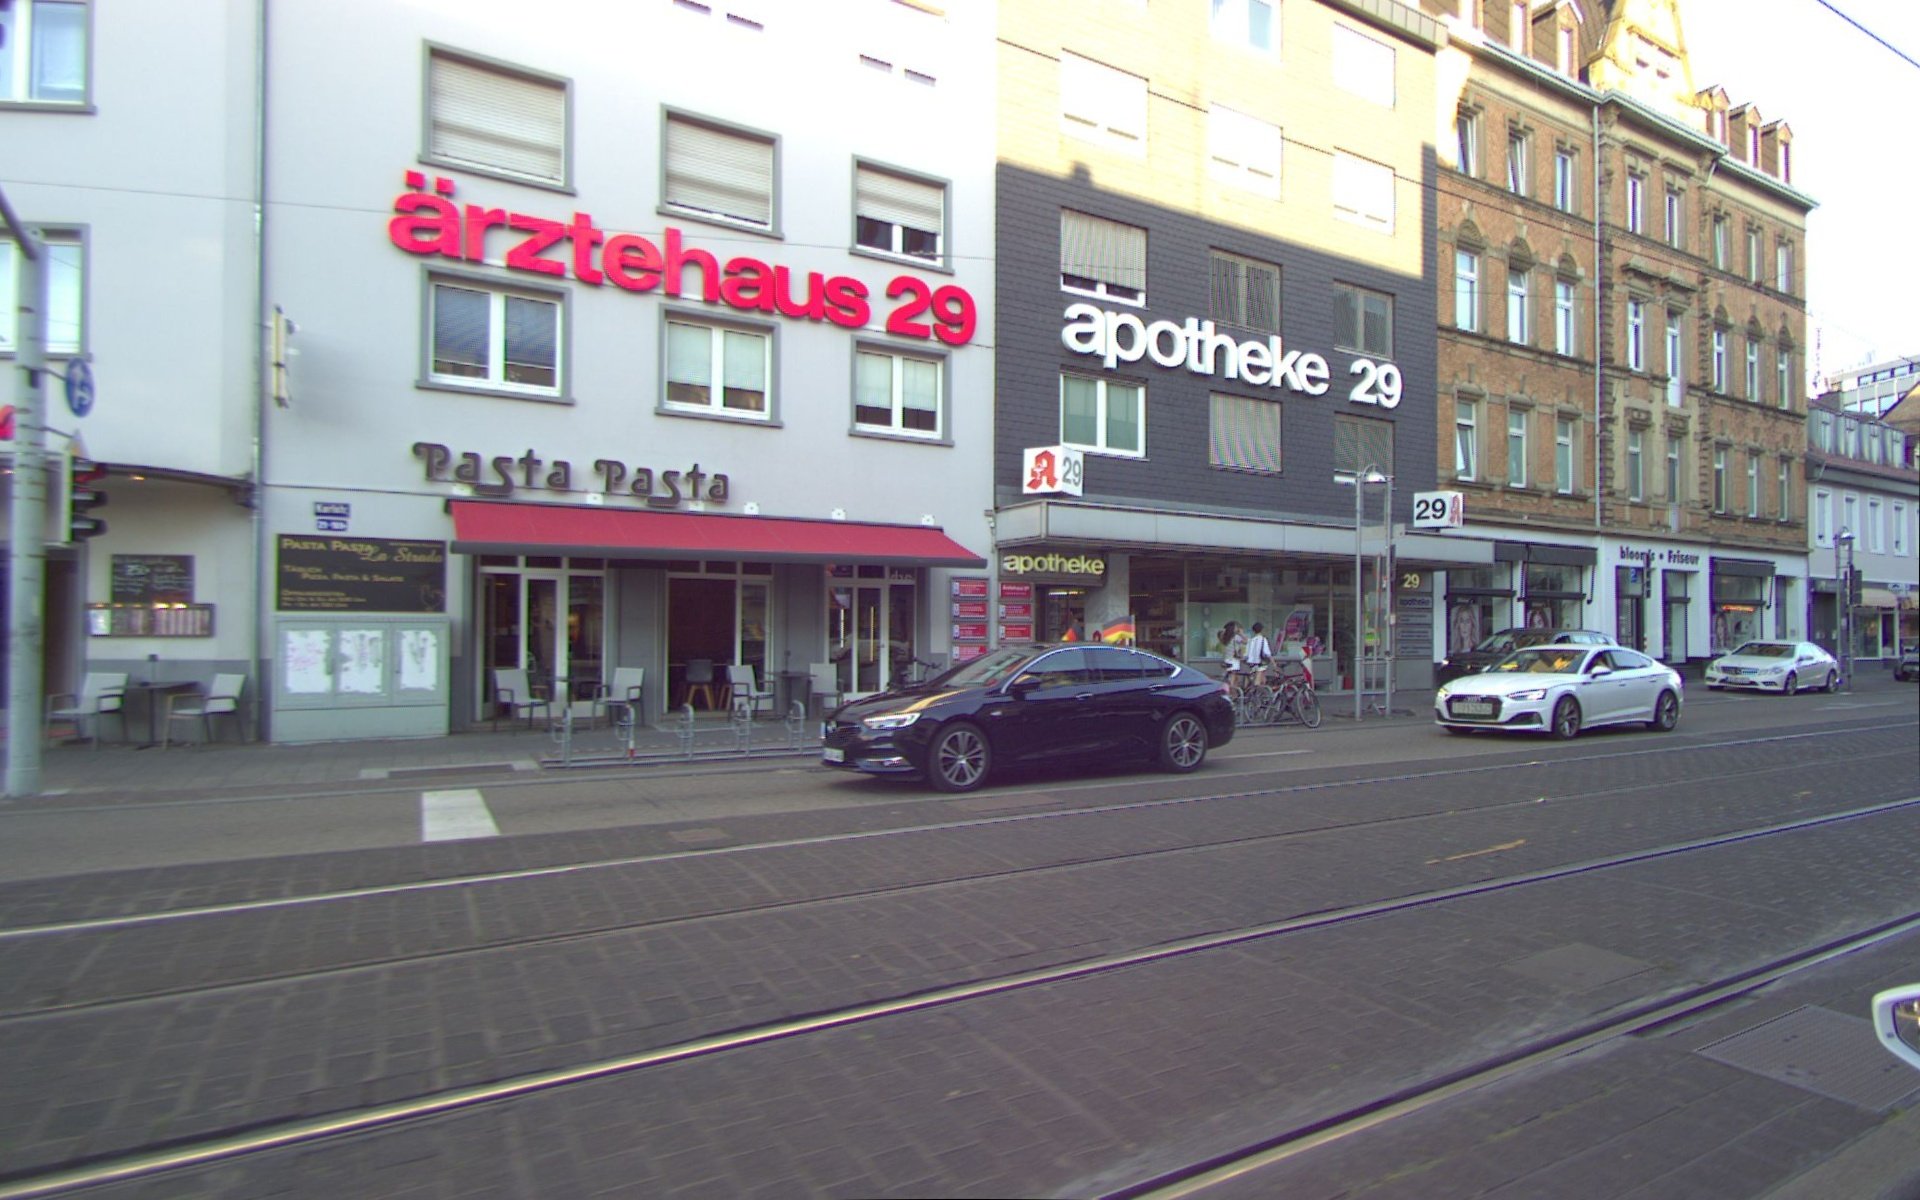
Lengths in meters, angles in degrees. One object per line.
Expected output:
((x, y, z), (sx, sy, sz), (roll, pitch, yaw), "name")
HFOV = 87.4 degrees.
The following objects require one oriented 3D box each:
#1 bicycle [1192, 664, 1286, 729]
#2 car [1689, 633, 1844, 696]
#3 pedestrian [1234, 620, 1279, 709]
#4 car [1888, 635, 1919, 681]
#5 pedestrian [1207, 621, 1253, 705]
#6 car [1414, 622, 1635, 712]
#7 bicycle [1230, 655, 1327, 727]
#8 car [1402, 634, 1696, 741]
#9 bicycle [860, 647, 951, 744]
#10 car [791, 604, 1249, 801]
((4.812, 1.638, 17.424), (0.450, 0.924, 1.797), (-1, 1, -29), "bicycle")
((21.918, 1.697, 27.259), (4.559, 1.472, 1.858), (1, 1, -32), "car")
((5.881, 1.253, 19.924), (0.595, 1.722, 0.617), (0, -1, -30), "pedestrian")
((32.513, 1.918, 33.207), (3.766, 1.459, 1.591), (1, 0, -29), "car")
((5.538, 1.269, 20.643), (0.617, 1.683, 0.679), (0, -1, -30), "pedestrian")
((11.985, 1.341, 21.281), (4.587, 1.697, 1.923), (1, 0, -28), "car")
((5.614, 1.583, 17.811), (0.483, 1.061, 1.823), (-1, 1, -29), "bicycle")
((9.380, 1.314, 15.929), (4.601, 1.471, 1.985), (1, -4, -30), "car")
((-0.827, 1.347, 14.686), (0.546, 1.227, 1.882), (1, 0, -29), "bicycle")
((0.708, 1.011, 10.983), (4.669, 1.750, 1.986), (1, -4, -29), "car")
